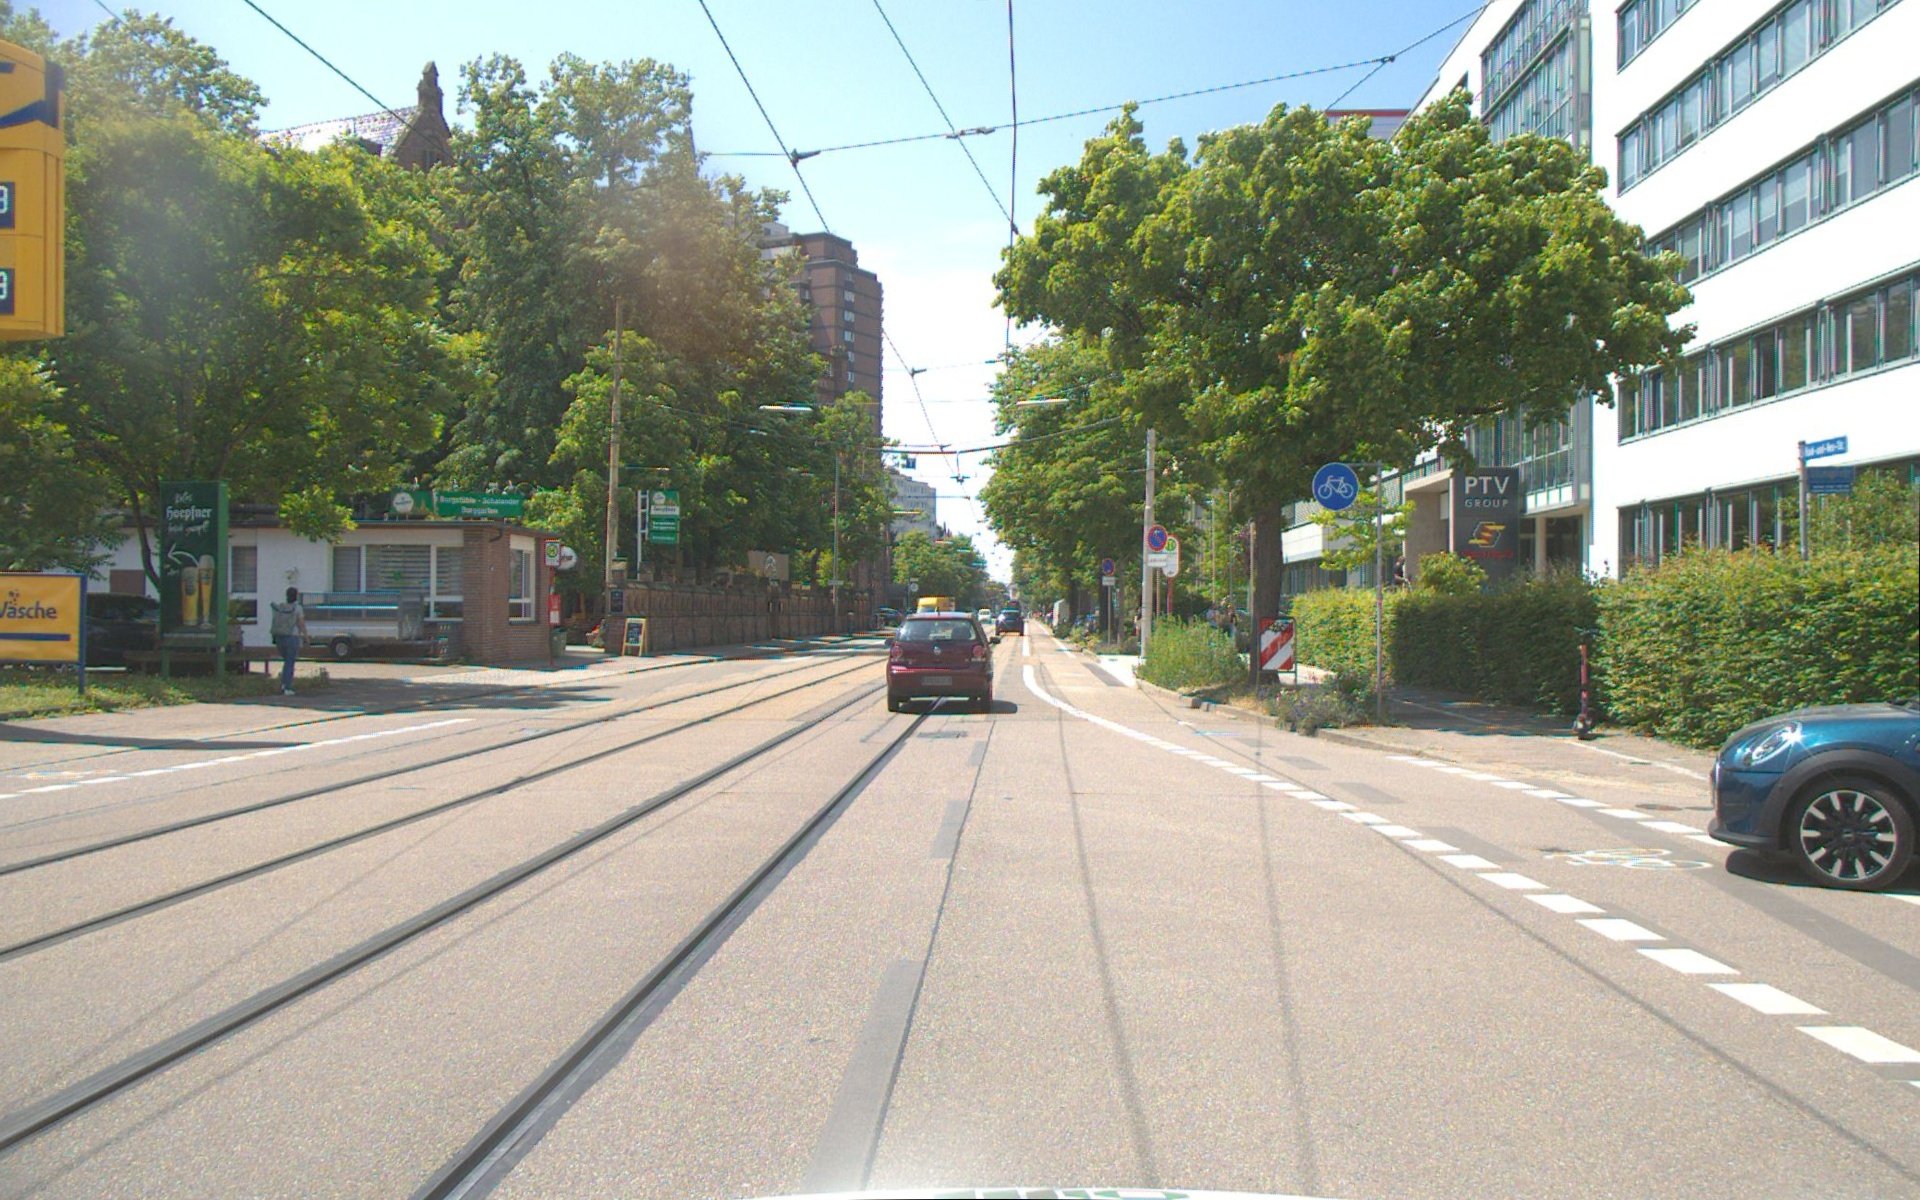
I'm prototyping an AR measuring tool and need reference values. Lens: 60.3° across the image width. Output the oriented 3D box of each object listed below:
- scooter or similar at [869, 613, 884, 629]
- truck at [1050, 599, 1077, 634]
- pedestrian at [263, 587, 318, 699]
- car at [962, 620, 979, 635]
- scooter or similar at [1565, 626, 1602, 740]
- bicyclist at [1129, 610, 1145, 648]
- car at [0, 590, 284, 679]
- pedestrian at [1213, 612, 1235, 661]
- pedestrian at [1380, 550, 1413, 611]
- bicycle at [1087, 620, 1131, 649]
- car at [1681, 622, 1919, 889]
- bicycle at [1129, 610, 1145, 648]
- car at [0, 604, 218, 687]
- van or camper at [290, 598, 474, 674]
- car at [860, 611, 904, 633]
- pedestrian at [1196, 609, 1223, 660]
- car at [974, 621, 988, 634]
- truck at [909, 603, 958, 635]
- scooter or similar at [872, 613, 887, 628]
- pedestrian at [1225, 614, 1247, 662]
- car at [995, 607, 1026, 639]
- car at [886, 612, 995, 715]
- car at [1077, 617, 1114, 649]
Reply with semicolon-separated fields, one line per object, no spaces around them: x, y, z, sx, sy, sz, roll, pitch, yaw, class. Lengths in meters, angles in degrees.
-6.406;1.583;126.729;1.072;1.175;0.524;2;-1;-19;scooter or similar
8.281;1.296;132.168;1.952;2.708;4.876;2;-1;2;truck
-11.014;0.706;27.230;0.568;1.807;0.699;2;-1;-1;pedestrian
1.139;2.935;175.919;1.734;1.542;4.001;0;-1;2;car
7.095;0.927;18.816;0.319;1.244;1.151;1;-1;23;scooter or similar
8.529;1.410;79.652;0.682;1.831;0.888;-1;-2;5;bicyclist
-15.243;0.652;30.948;1.901;1.514;4.424;1;-1;42;car
9.507;1.314;59.556;0.530;1.745;0.561;0;-2;-27;pedestrian
12.880;-0.565;48.809;0.855;1.745;1.090;-2;-2;17;pedestrian
6.336;1.471;70.458;1.844;1.203;0.694;0;-1;2;bicycle
6.107;0.825;9.101;3.837;1.396;1.701;-1;-1;27;car
8.519;1.414;79.662;0.675;1.817;1.811;-1;-2;5;bicycle
-17.274;0.877;32.611;1.901;1.514;4.424;1;-1;42;car
-13.854;0.842;39.808;3.705;1.658;1.872;2;0;2;van or camper
-7.358;2.059;156.431;3.902;2.049;2.001;0;-1;6;car
9.123;1.251;60.448;0.670;1.828;0.668;-1;-1;-29;pedestrian
3.049;4.022;243.700;1.952;1.887;4.683;0;-1;2;car
-2.413;1.733;152.201;2.320;2.836;7.322;0;-1;17;truck
-6.324;1.612;129.386;1.072;1.175;0.524;2;-1;-19;scooter or similar
10.034;1.386;60.086;0.530;1.745;0.561;0;-2;-27;pedestrian
3.324;1.505;109.488;1.953;2.049;4.000;2;-1;0;car
-0.245;0.957;26.340;1.585;1.513;4.001;0;-1;2;car
6.733;1.635;82.703;1.653;1.529;3.628;-1;-1;2;car
